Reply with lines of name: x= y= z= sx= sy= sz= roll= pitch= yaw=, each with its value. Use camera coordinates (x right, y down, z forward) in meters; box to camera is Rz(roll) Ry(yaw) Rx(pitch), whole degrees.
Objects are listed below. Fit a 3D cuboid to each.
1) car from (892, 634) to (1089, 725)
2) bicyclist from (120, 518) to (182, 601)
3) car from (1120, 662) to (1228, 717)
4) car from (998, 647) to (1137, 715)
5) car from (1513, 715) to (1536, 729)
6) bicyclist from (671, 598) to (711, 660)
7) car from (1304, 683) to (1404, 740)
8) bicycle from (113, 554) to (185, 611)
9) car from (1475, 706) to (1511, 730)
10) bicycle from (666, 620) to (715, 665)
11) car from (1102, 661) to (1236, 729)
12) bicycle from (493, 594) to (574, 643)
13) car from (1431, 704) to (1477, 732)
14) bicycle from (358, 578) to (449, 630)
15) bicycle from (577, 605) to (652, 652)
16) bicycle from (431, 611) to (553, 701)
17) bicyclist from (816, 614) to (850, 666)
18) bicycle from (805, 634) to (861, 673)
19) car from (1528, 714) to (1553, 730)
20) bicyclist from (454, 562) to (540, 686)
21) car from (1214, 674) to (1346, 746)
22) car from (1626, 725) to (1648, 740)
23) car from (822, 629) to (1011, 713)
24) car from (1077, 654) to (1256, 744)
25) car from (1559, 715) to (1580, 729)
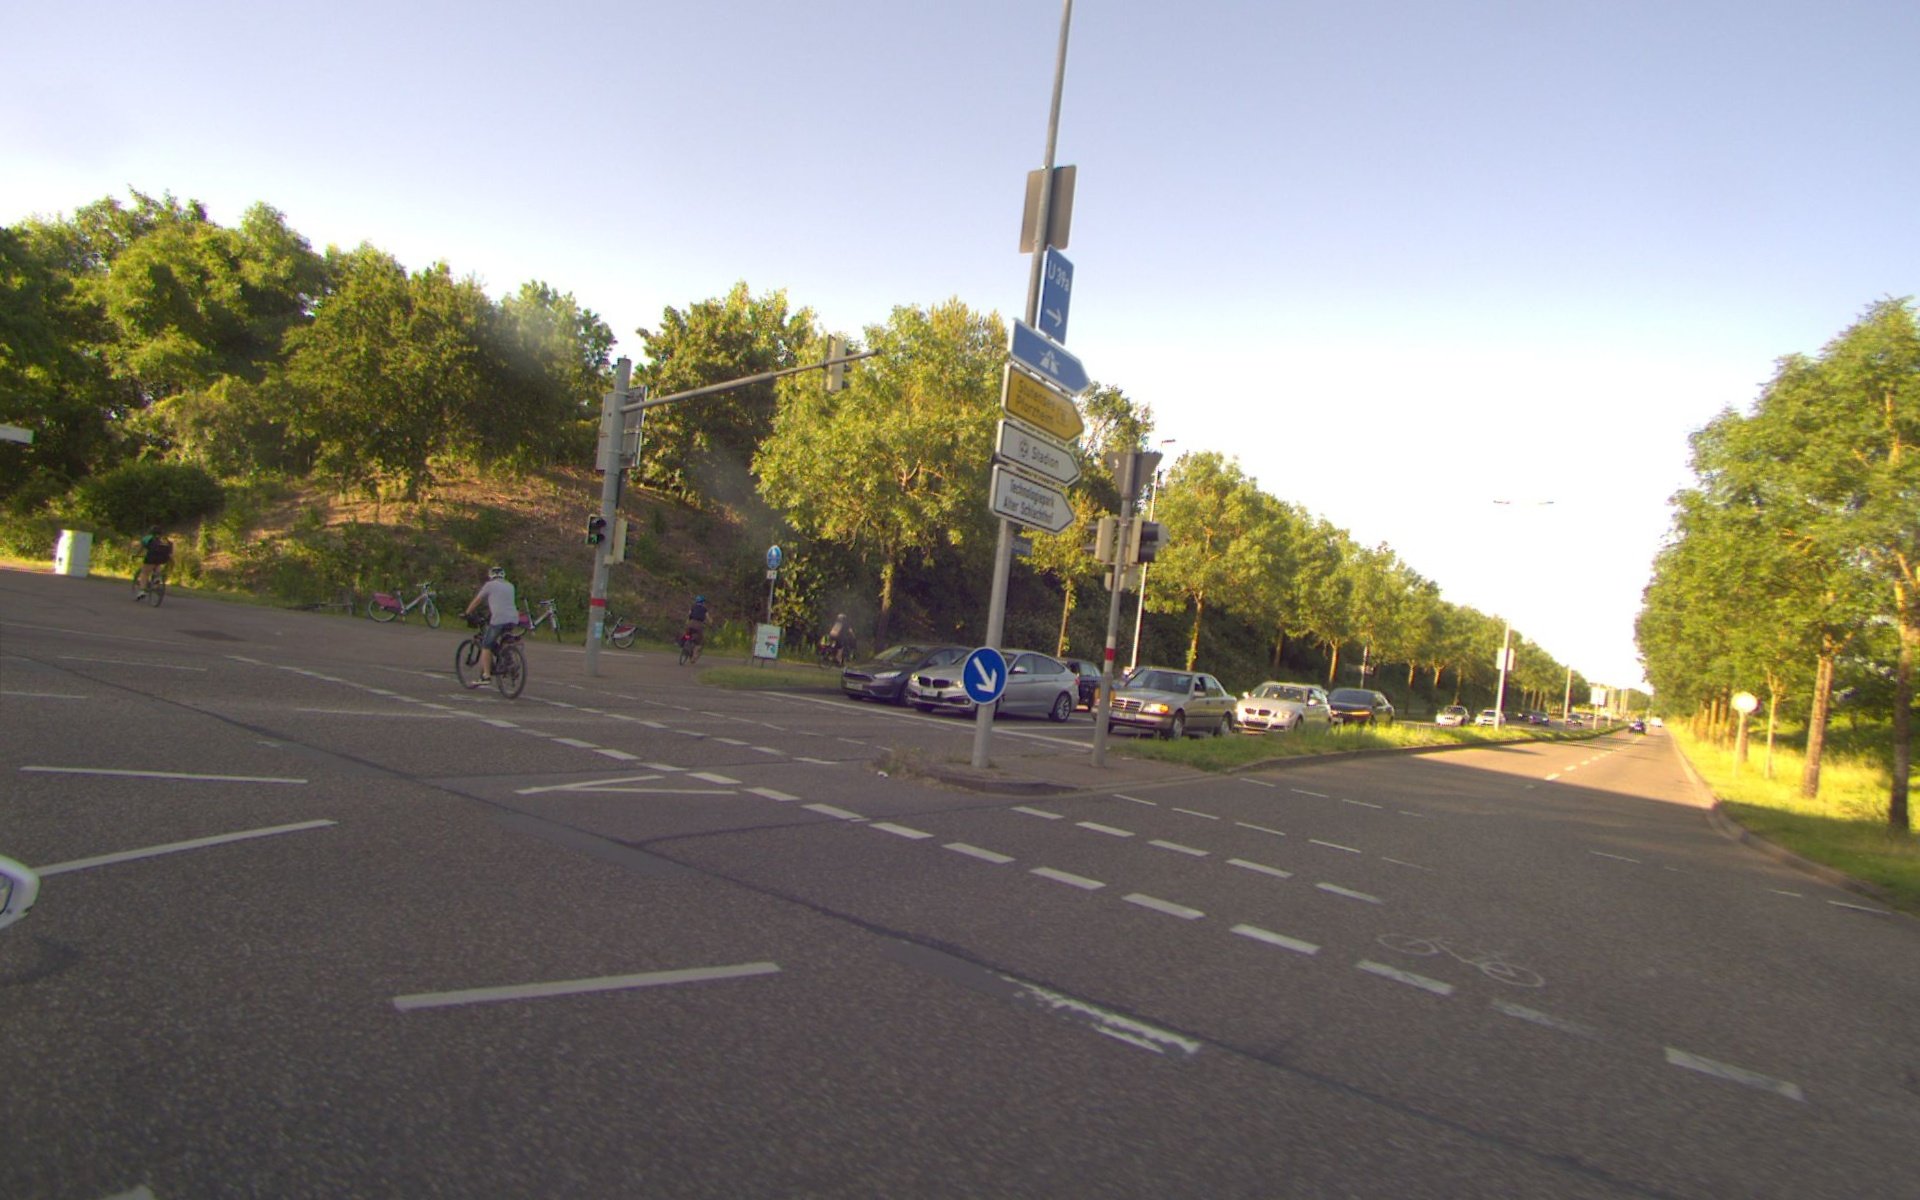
car: x=0.779 y=1.768 z=21.586 sx=1.801 sy=1.530 sz=4.551 roll=4 pitch=-4 yaw=37
bicyclist: x=-16.857 y=-0.841 z=20.959 sx=0.927 sy=1.631 sz=0.592 roll=4 pitch=-3 yaw=34
car: x=7.501 y=3.136 z=34.955 sx=1.801 sy=1.530 sz=4.551 roll=4 pitch=-4 yaw=37
car: x=3.205 y=2.385 z=29.070 sx=1.801 sy=1.530 sz=4.551 roll=4 pitch=-4 yaw=37
car: x=71.808 y=15.520 z=127.982 sx=1.801 sy=1.530 sz=4.551 roll=4 pitch=-4 yaw=37
bicyclist: x=-6.748 y=0.740 z=25.263 sx=0.655 sy=1.491 sz=0.752 roll=6 pitch=-3 yaw=-2
car: x=13.042 y=3.719 z=33.134 sx=1.801 sy=1.530 sz=4.551 roll=4 pitch=-4 yaw=37
bicycle: x=-16.902 y=-0.375 z=20.957 sx=1.723 sy=1.034 sz=0.592 roll=4 pitch=-3 yaw=34
car: x=42.707 y=9.466 z=80.568 sx=1.801 sy=1.530 sz=4.551 roll=4 pitch=-4 yaw=37
bicycle: x=-6.767 y=1.096 z=25.378 sx=0.661 sy=1.034 sz=2.057 roll=6 pitch=-3 yaw=-2
car: x=5.929 y=2.689 z=28.119 sx=1.801 sy=1.530 sz=4.551 roll=4 pitch=-4 yaw=37
bicycle: x=-10.892 y=0.489 z=25.725 sx=0.585 sy=1.034 sz=1.745 roll=4 pitch=-4 yaw=39
car: x=32.411 y=7.770 z=65.982 sx=1.801 sy=1.530 sz=4.551 roll=4 pitch=-4 yaw=37
bicycle: x=-13.399 y=0.102 z=24.268 sx=0.585 sy=1.034 sz=1.745 roll=4 pitch=-4 yaw=39
bicycle: x=-9.175 y=0.767 z=26.766 sx=0.586 sy=1.034 sz=1.743 roll=4 pitch=-4 yaw=42
bicycle: x=-6.311 y=0.741 z=13.544 sx=1.723 sy=1.034 sz=0.592 roll=4 pitch=-3 yaw=34
bicyclist: x=-3.921 y=1.226 z=31.069 sx=0.641 sy=1.498 sz=0.617 roll=6 pitch=-1 yaw=33
bicycle: x=-3.915 y=1.679 z=31.152 sx=0.658 sy=1.034 sz=1.748 roll=4 pitch=-4 yaw=32
car: x=66.163 y=13.947 z=114.675 sx=1.801 sy=1.530 sz=4.551 roll=4 pitch=-4 yaw=37
bicyclist: x=-6.224 y=0.321 z=13.523 sx=0.757 sy=1.566 sz=0.592 roll=4 pitch=-3 yaw=34
car: x=8.489 y=2.924 z=26.401 sx=1.801 sy=1.530 sz=4.551 roll=4 pitch=-4 yaw=37
car: x=82.199 y=16.131 z=122.107 sx=1.801 sy=1.530 sz=4.551 roll=4 pitch=-4 yaw=37
car: x=-0.897 y=1.704 z=23.426 sx=1.801 sy=1.530 sz=4.551 roll=4 pitch=-4 yaw=37
car: x=4.459 y=2.134 z=21.147 sx=1.801 sy=1.530 sz=4.551 roll=4 pitch=-4 yaw=37
car: x=80.614 y=16.172 z=133.092 sx=1.801 sy=1.530 sz=4.551 roll=4 pitch=-4 yaw=37
